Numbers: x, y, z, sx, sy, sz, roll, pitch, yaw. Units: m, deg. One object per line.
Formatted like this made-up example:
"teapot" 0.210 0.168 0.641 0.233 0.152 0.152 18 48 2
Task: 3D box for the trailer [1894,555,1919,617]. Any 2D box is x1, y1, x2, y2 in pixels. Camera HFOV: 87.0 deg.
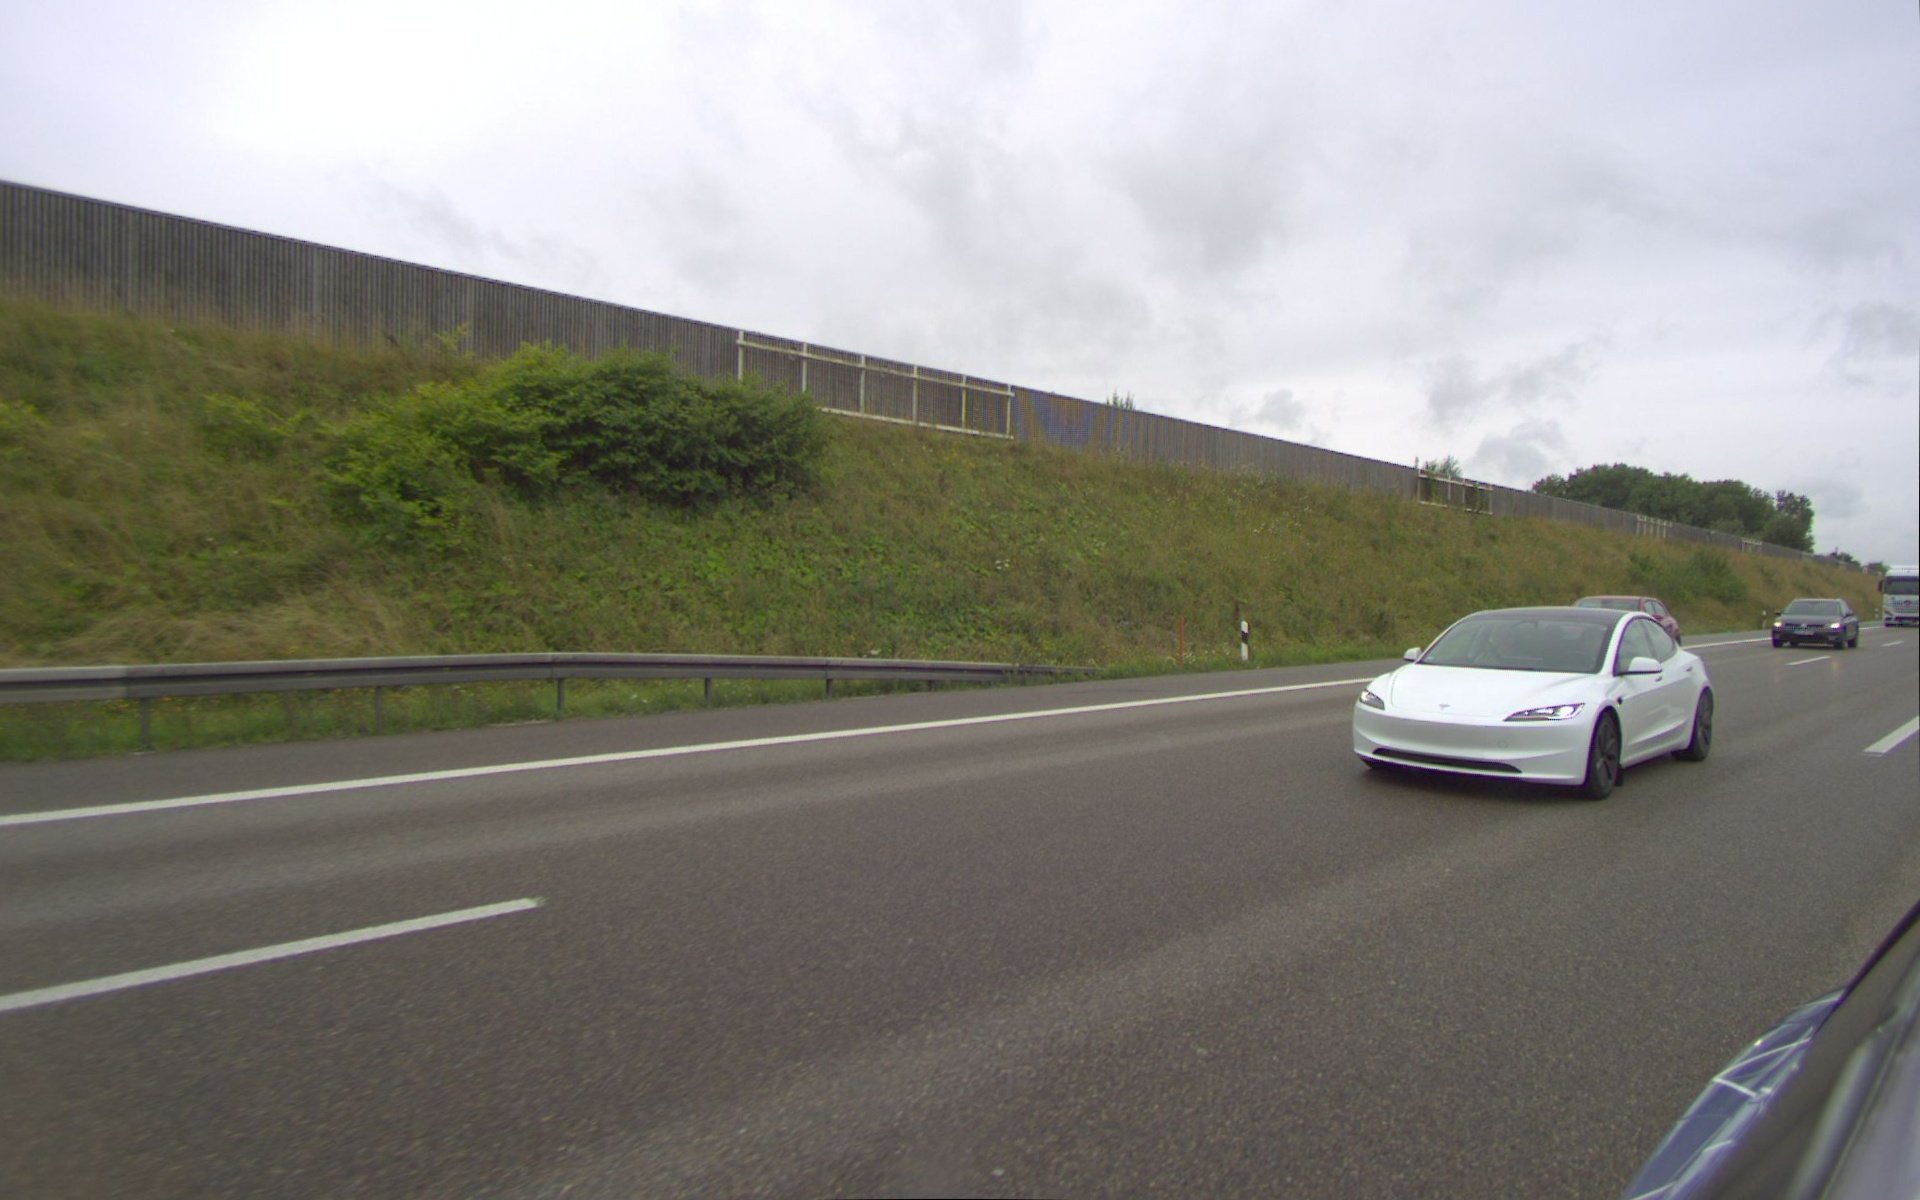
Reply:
"trailer" 69.176 -1.008 71.889 14.967 4.077 3.084 -1 0 -43

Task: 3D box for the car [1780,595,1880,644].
"car" 29.095 0.601 33.813 4.408 1.508 1.927 -1 0 -41

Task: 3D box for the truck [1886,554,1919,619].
"truck" 62.852 -0.894 66.011 6.840 4.077 3.085 0 0 -43

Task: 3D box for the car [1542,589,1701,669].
"car" 14.270 0.543 21.764 3.930 1.555 1.876 -1 0 -41

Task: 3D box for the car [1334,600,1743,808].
"car" 5.447 0.708 9.213 4.731 1.380 1.876 -1 0 -42
